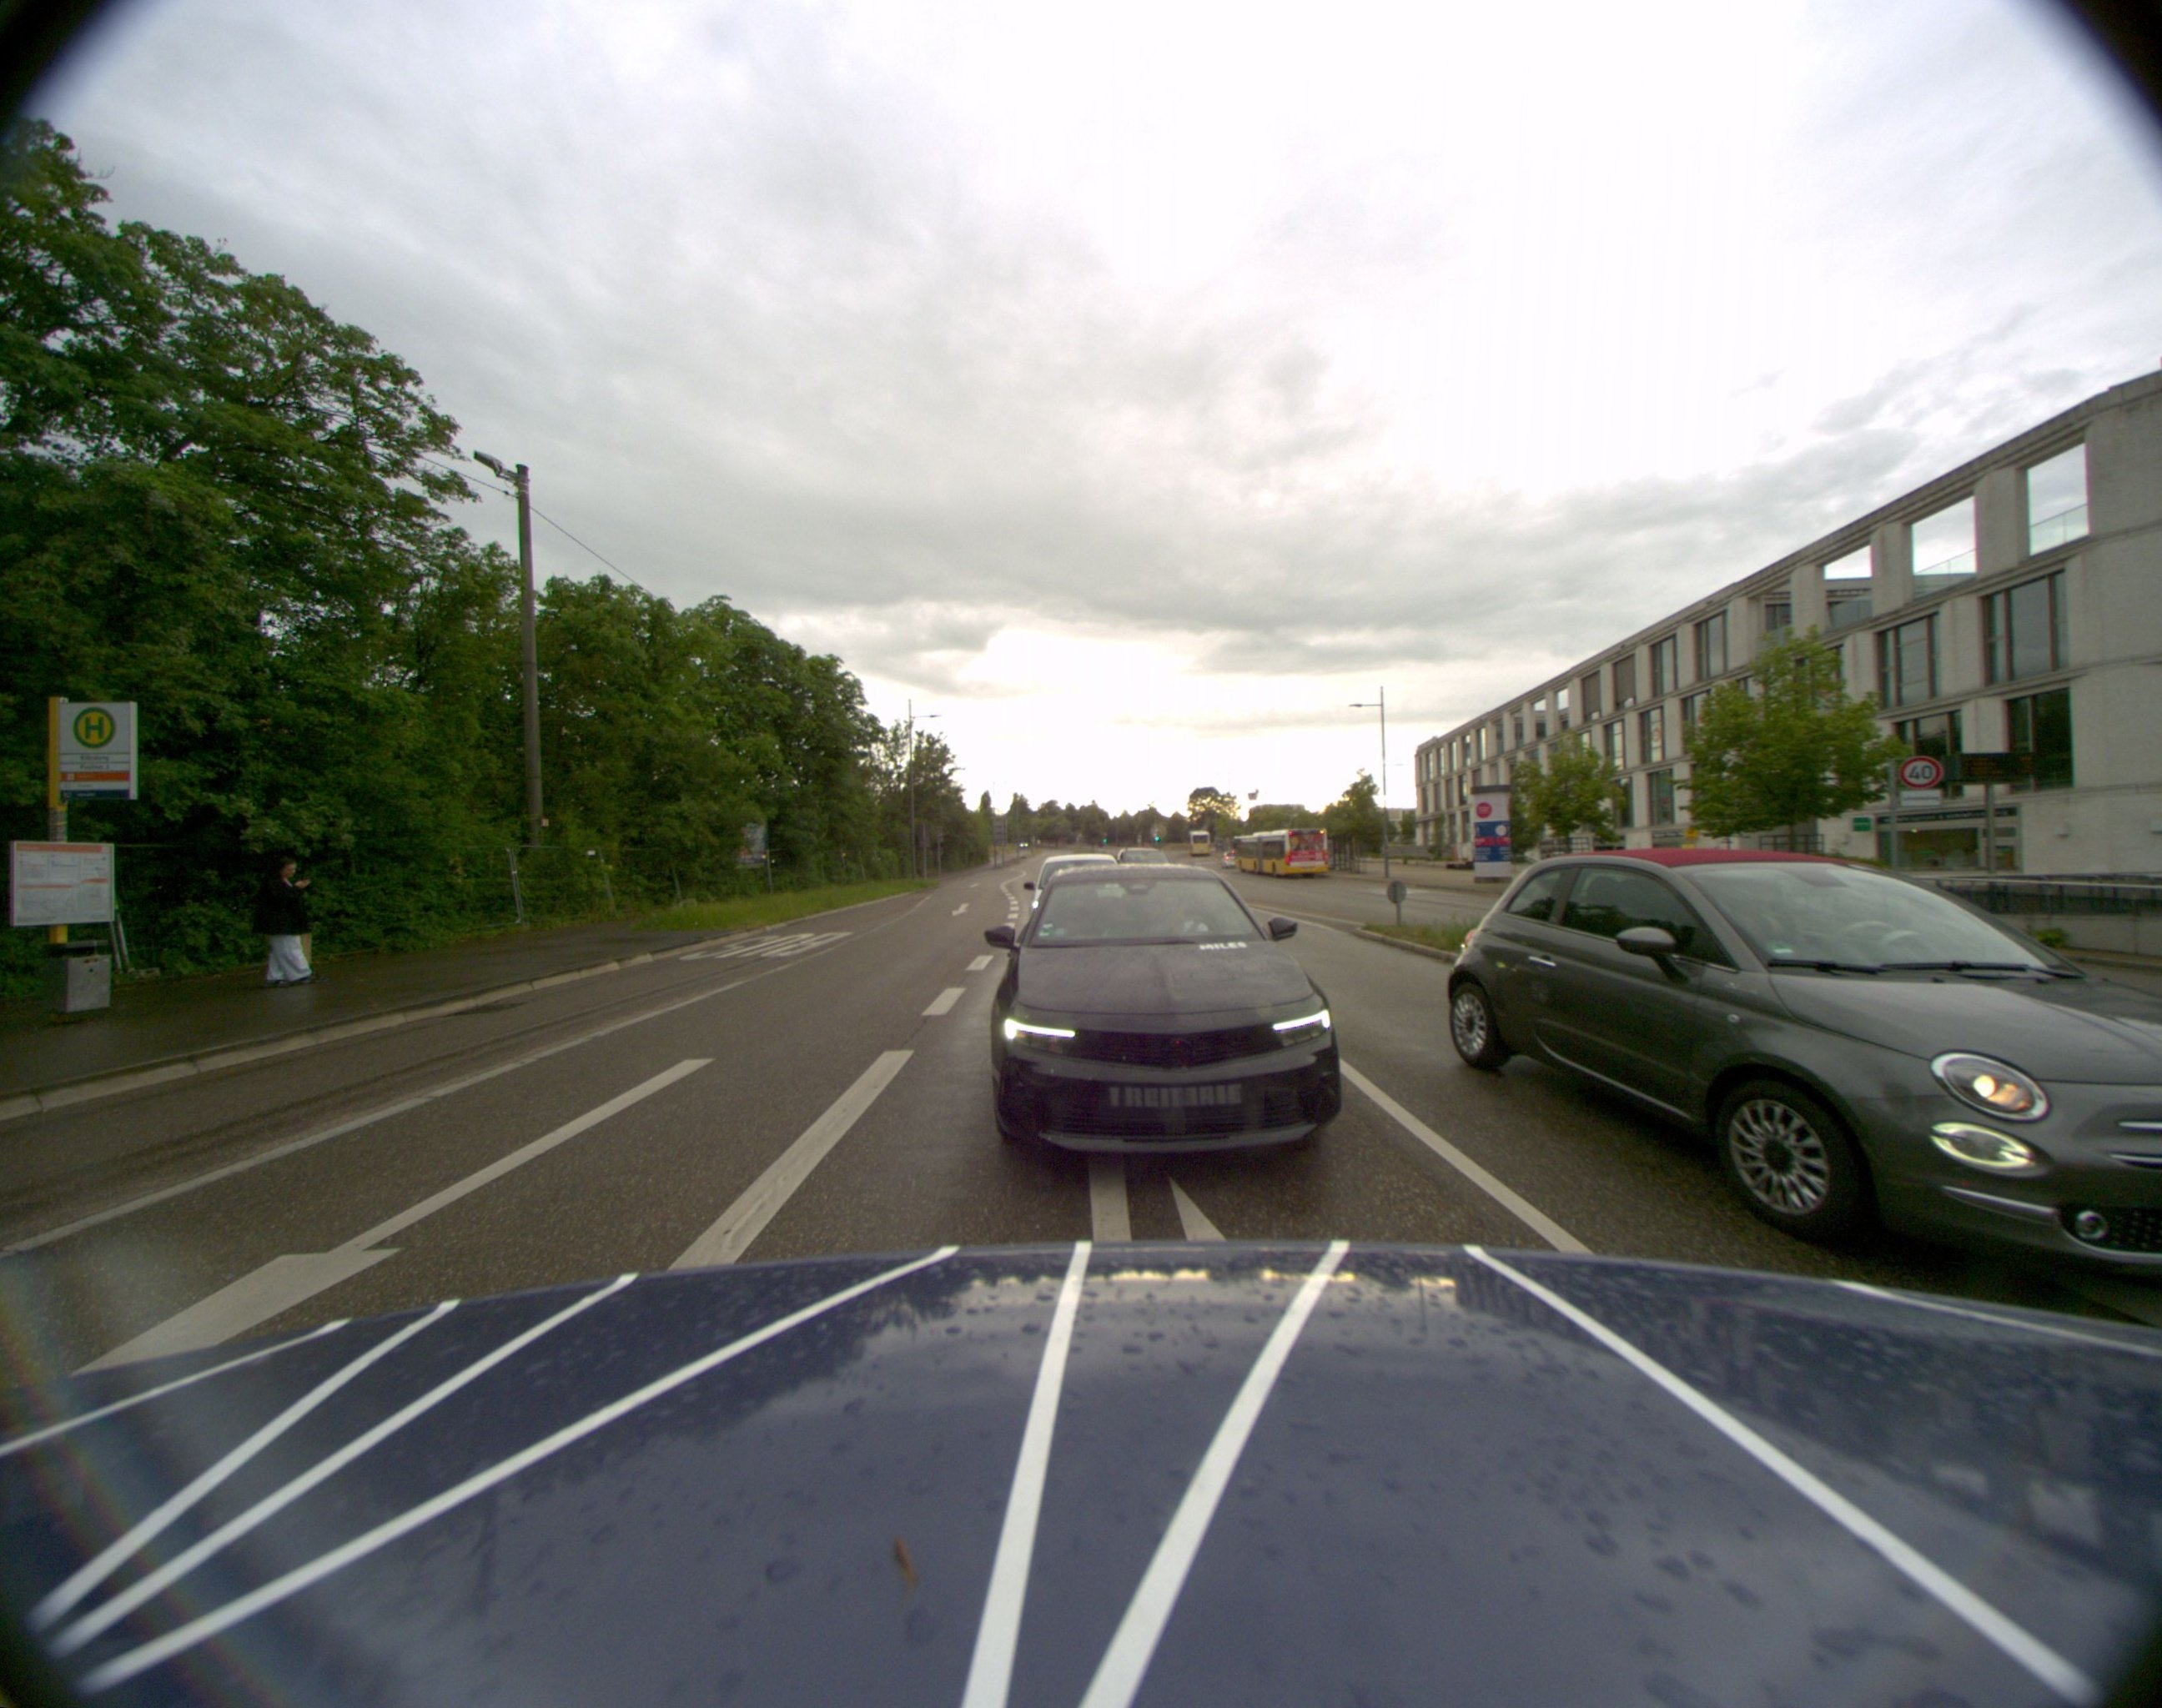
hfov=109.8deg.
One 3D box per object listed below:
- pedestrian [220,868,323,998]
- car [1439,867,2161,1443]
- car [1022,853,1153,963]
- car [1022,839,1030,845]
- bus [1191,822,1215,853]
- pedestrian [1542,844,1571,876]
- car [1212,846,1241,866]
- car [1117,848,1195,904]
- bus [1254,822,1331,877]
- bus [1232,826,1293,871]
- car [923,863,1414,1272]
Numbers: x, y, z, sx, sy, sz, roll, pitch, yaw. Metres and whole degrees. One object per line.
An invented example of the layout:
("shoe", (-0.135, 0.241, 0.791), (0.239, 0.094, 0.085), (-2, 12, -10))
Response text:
("pedestrian", (-10.595, 1.010, 9.966), (0.588, 1.618, 0.661), (-1, 1, 1))
("car", (3.460, 0.858, 3.837), (1.631, 1.473, 3.506), (-1, 1, 0))
("car", (0.117, 0.802, 13.694), (1.901, 1.524, 4.767), (-2, 1, 0))
("car", (-16.357, -3.572, 225.927), (2.000, 1.805, 3.996), (-2, 1, -10))
("bus", (18.391, -2.420, 113.938), (2.757, 4.129, 19.359), (-2, 1, 11))
("pedestrian", (24.211, 0.316, 38.714), (0.982, 1.572, 0.867), (-2, 1, 13))
("car", (13.582, 0.166, 71.081), (1.867, 1.777, 3.999), (-2, 1, 1))
("car", (2.354, 0.633, 25.022), (1.934, 1.649, 4.617), (-1, 0, -2))
("bus", (13.828, -0.312, 50.536), (2.759, 3.194, 9.207), (-2, 1, 2))
("bus", (14.120, -0.451, 60.041), (2.693, 3.163, 9.912), (-2, 1, 2))
("car", (0.381, 0.884, 5.404), (1.901, 1.456, 4.767), (-2, 1, 1))
